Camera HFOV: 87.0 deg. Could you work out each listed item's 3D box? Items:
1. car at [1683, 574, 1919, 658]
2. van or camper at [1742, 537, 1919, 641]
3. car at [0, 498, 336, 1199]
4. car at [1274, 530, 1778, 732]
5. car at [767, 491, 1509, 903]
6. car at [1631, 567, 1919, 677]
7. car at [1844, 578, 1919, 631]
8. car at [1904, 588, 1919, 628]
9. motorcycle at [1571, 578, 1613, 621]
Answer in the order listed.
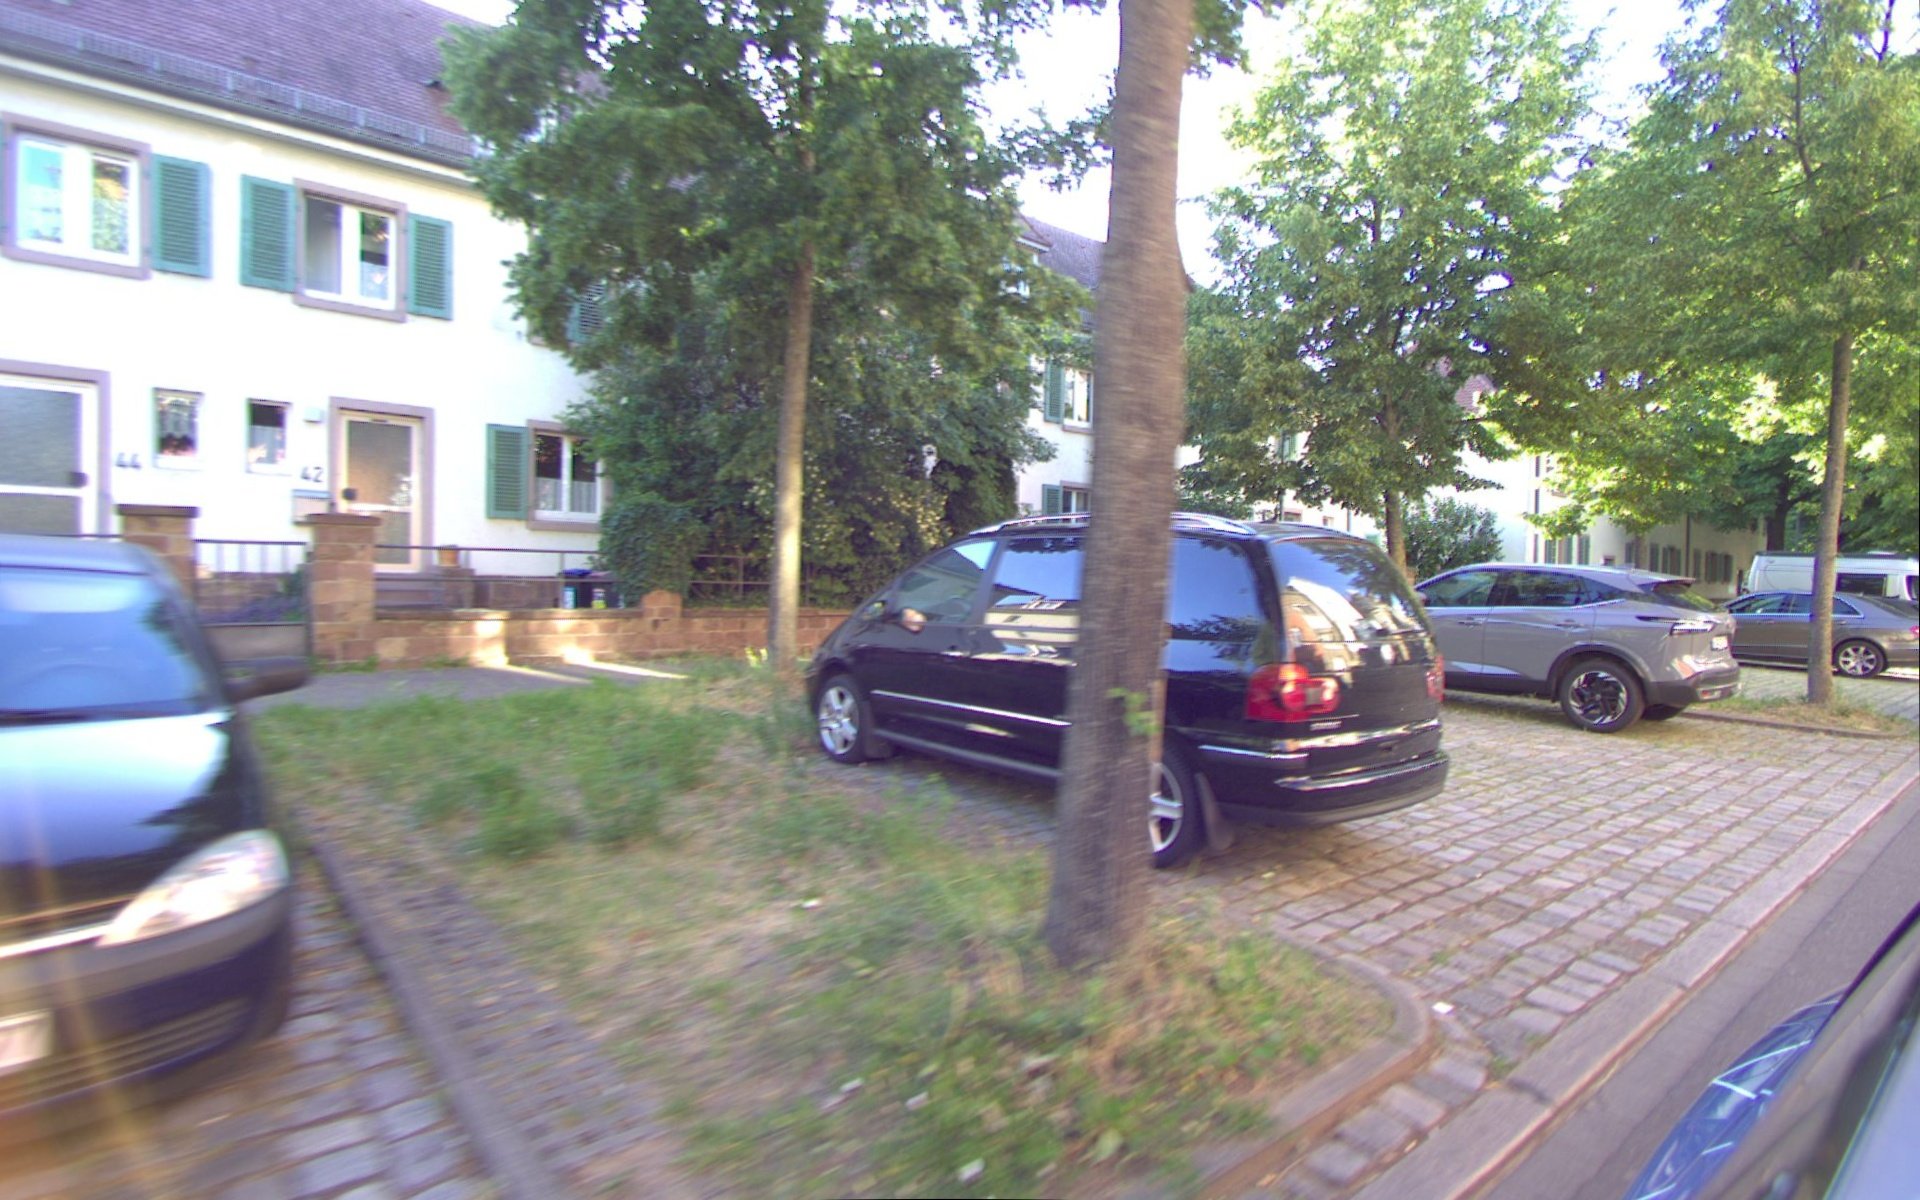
[{"bbox_3d":[19.158,0.305,22.645,1.795,1.453,4.488,0,5,-40],"label":"car"},{"bbox_3d":[25.020,-0.288,27.334,2.124,2.546,5.734,0,5,-40],"label":"van or camper"},{"bbox_3d":[-3.258,0.424,3.285,1.561,1.470,3.732,0,5,-40],"label":"car"},{"bbox_3d":[6.050,0.160,11.320,1.842,1.653,4.487,0,5,-41],"label":"car"},{"bbox_3d":[0.684,0.211,6.541,1.872,1.697,4.597,0,5,-38],"label":"car"},{"bbox_3d":[15.378,0.336,18.453,1.862,1.557,4.848,0,5,-42],"label":"car"},{"bbox_3d":[34.167,0.235,35.401,1.966,1.736,4.603,0,4,-42],"label":"car"},{"bbox_3d":[39.881,0.404,39.678,1.528,1.571,3.996,0,2,-40],"label":"car"},{"bbox_3d":[21.266,-0.038,34.049,1.981,1.424,0.660,-1,1,-41],"label":"motorcycle"}]
